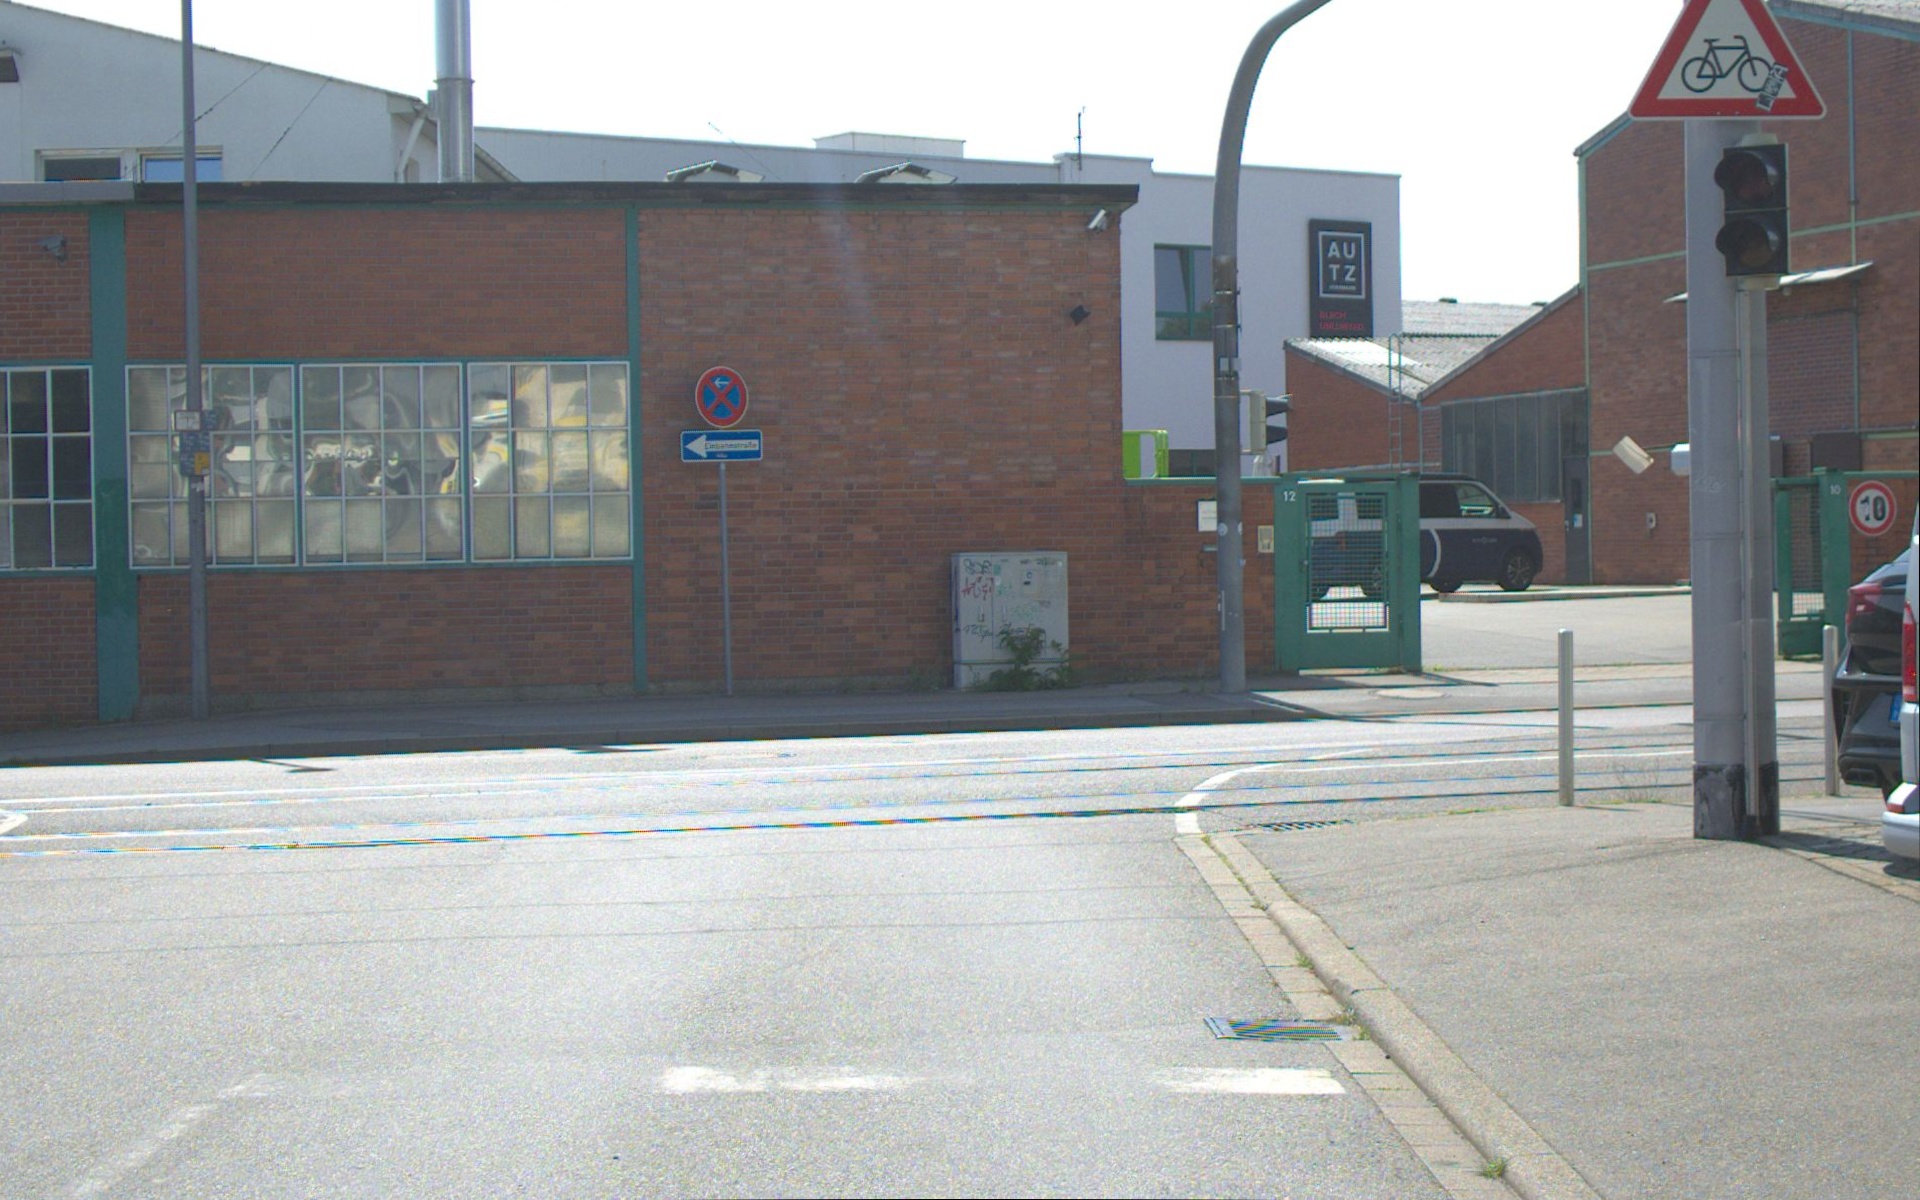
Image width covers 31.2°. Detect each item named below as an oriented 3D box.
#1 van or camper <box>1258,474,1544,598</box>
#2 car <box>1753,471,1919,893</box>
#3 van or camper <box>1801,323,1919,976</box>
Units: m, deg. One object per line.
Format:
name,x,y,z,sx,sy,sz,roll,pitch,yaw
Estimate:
van or camper,7.177,-1.014,55.795,4.408,1.894,2.000,1,1,-36
car,5.240,0.242,13.145,3.960,1.516,1.880,-2,1,-25
van or camper,5.068,0.067,10.349,4.540,1.901,2.001,-2,2,-20
